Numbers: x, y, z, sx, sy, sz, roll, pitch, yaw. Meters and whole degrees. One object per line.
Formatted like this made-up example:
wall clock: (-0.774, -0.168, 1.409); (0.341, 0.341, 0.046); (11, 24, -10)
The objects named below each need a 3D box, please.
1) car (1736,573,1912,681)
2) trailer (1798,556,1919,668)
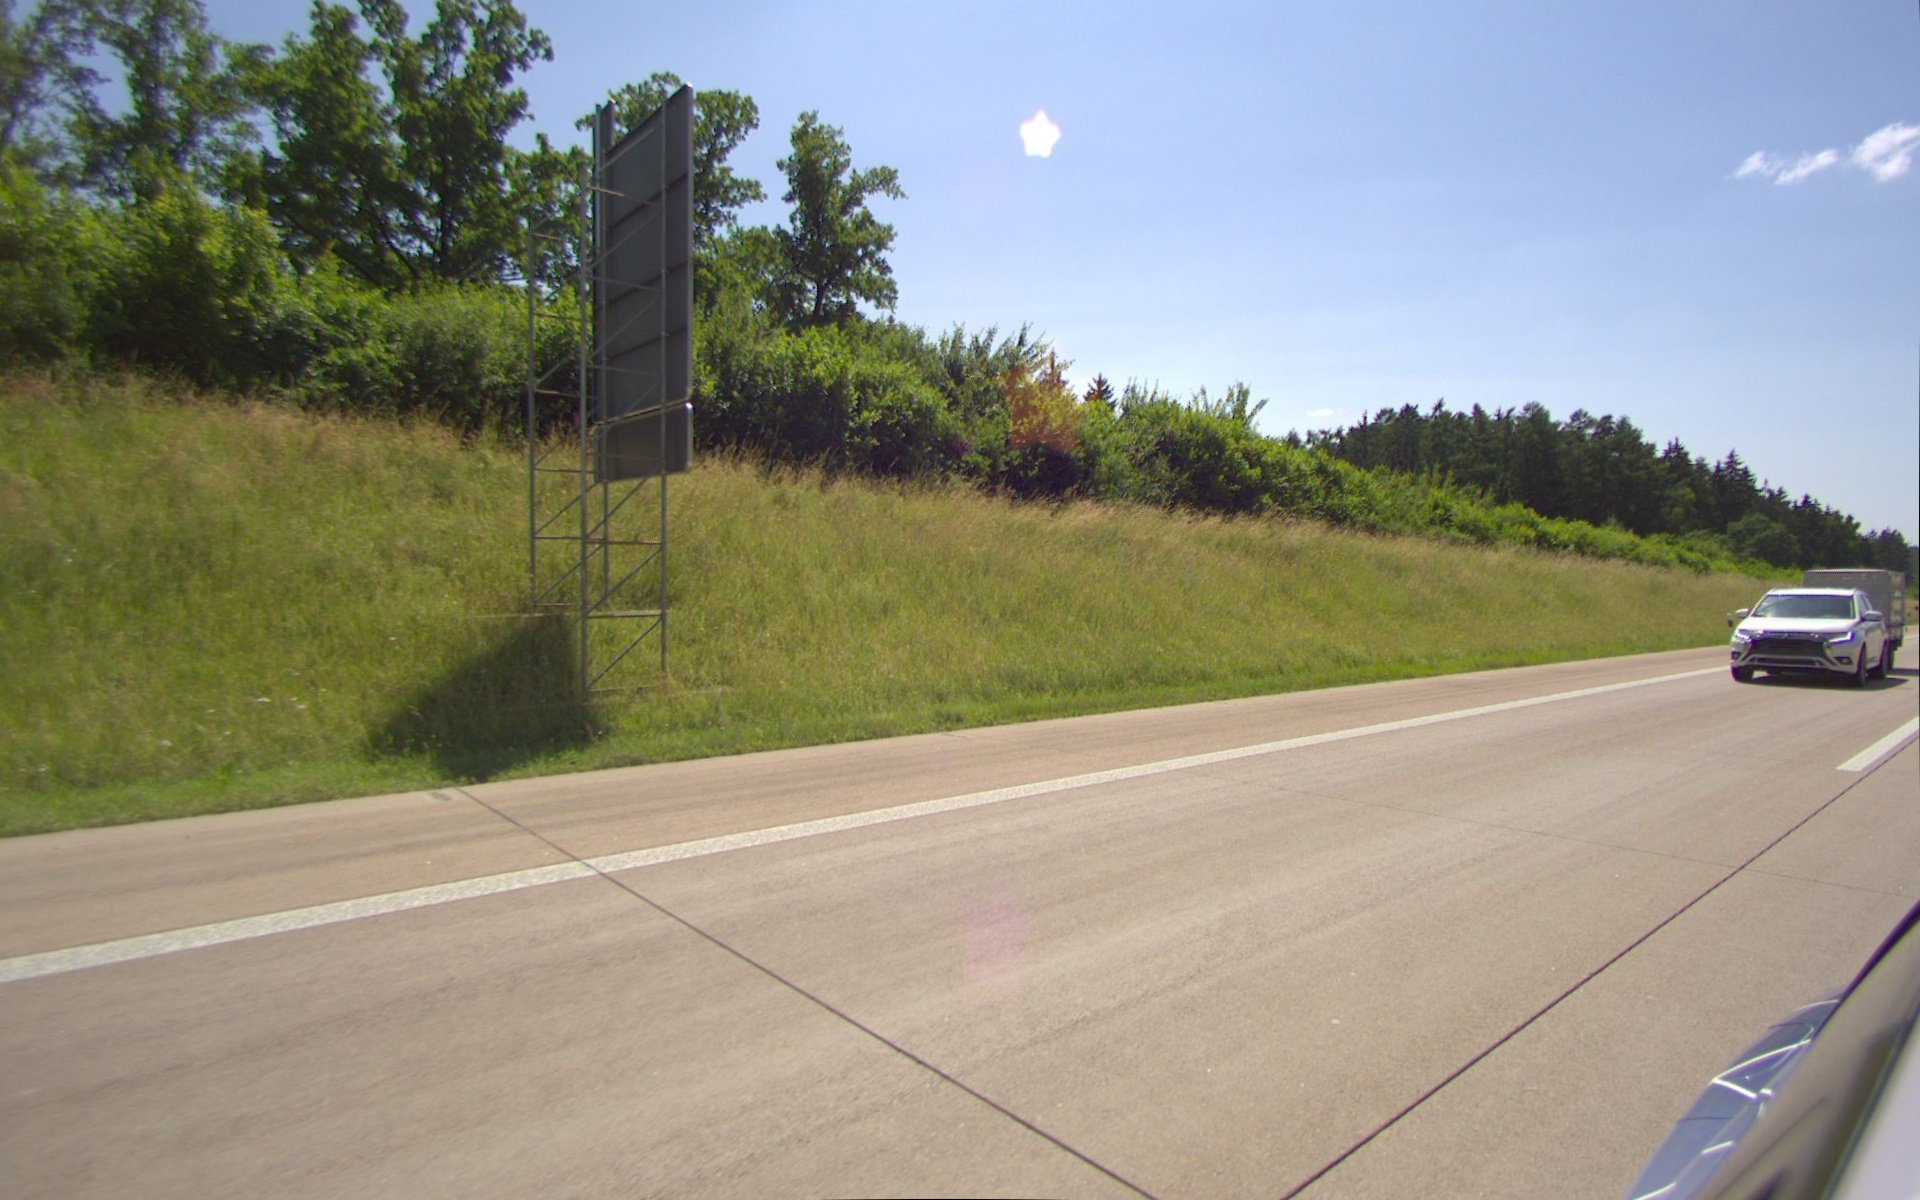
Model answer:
car: (16.172, 0.412, 18.837); (5.098, 1.750, 1.893); (0, 1, -42)
trailer: (19.515, 0.227, 21.815); (3.947, 2.191, 1.660); (0, 0, -42)
